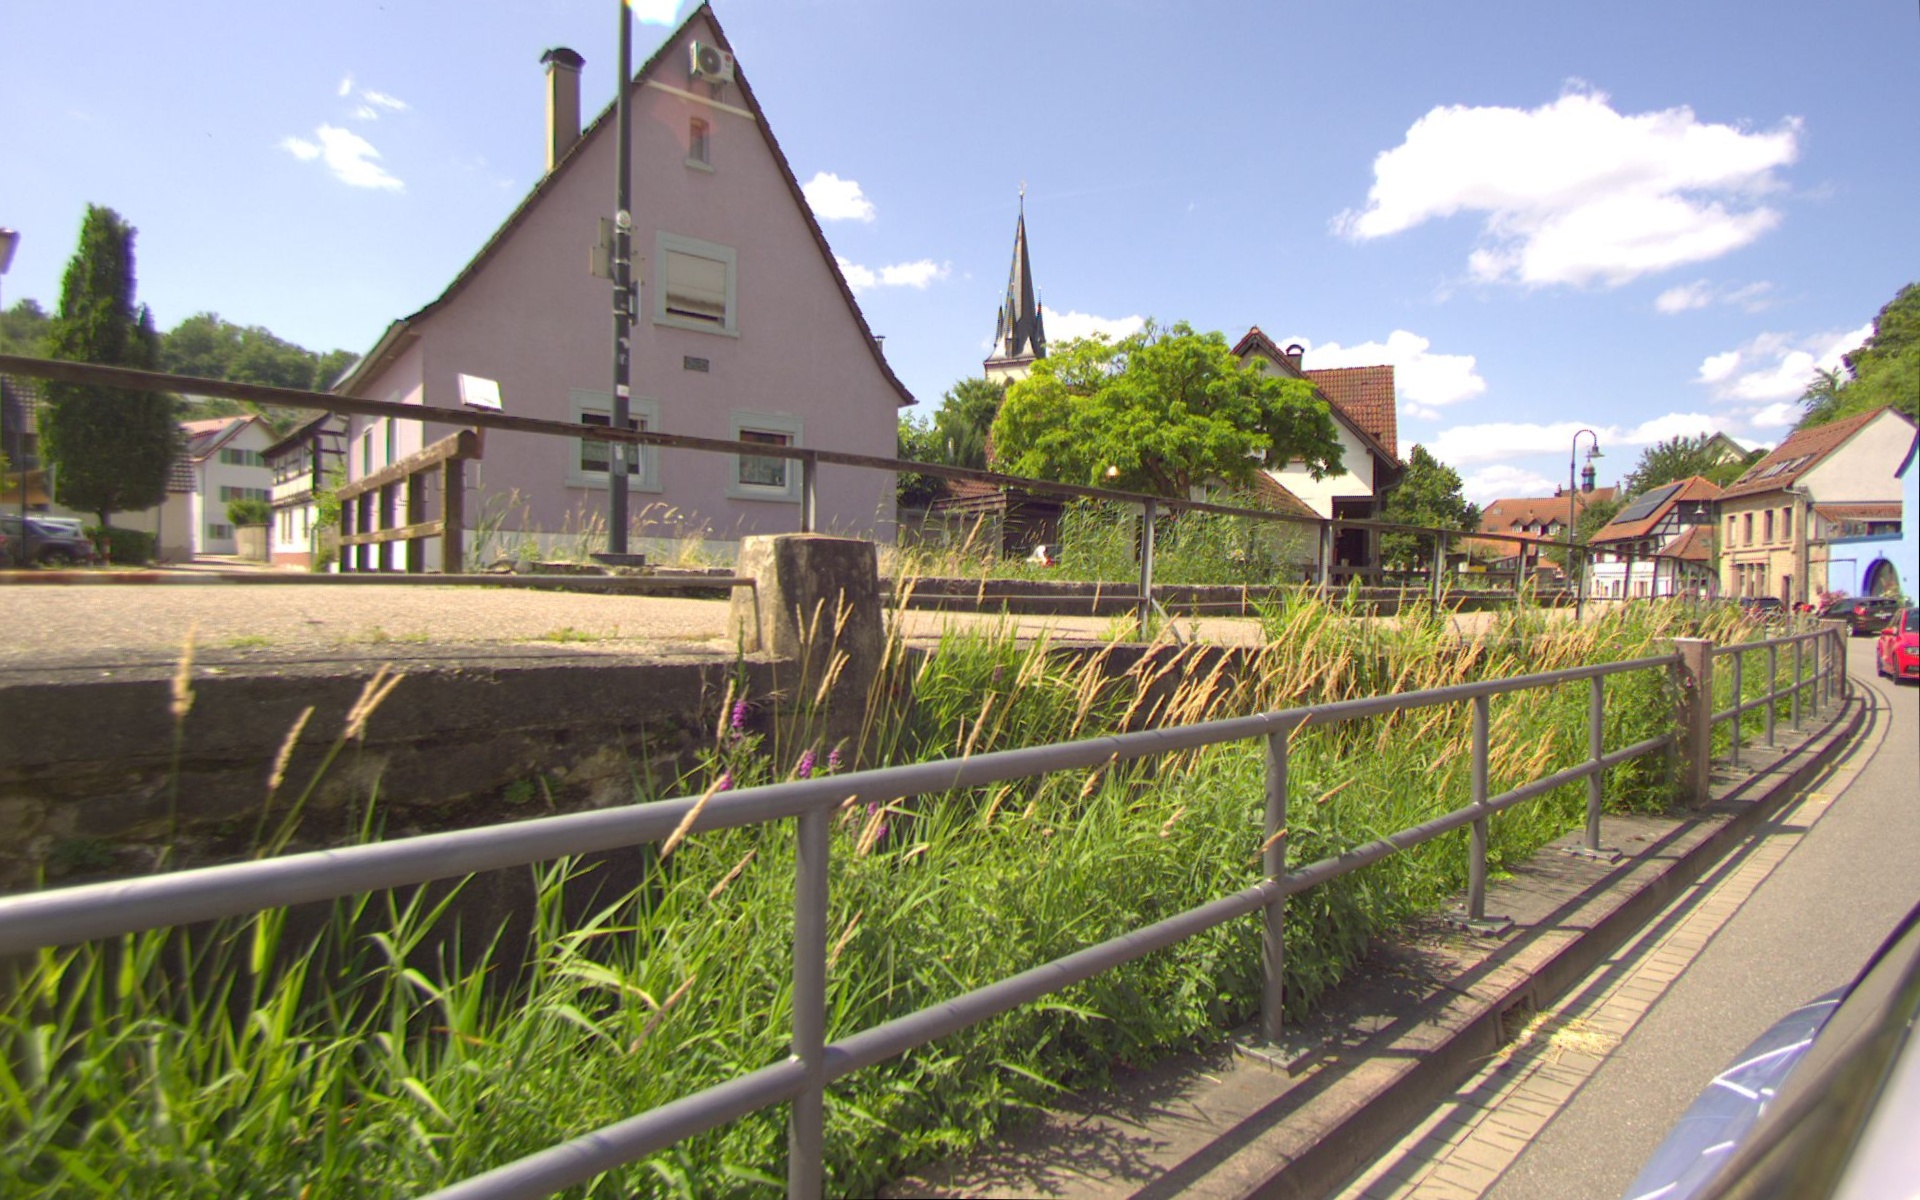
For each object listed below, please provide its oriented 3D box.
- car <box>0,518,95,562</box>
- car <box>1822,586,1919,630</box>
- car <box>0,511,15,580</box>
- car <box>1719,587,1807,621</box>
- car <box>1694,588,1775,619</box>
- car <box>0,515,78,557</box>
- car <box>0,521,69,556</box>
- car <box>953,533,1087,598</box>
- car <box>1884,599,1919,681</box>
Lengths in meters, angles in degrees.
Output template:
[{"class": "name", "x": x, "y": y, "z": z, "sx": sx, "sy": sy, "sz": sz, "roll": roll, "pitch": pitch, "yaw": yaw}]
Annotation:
[{"class": "car", "x": -29.207, "y": -1.902, "z": 32.037, "sx": 2.690, "sy": 1.315, "sz": 1.251, "roll": 0, "pitch": 3, "yaw": -38}, {"class": "car", "x": 34.698, "y": 0.274, "z": 38.532, "sx": 1.703, "sy": 1.549, "sz": 3.827, "roll": -2, "pitch": 0, "yaw": 23}, {"class": "car", "x": -21.872, "y": -1.156, "z": 21.040, "sx": 1.665, "sy": 1.451, "sz": 3.192, "roll": 0, "pitch": 0, "yaw": 44}, {"class": "car", "x": 38.113, "y": 0.190, "z": 48.174, "sx": 1.868, "sy": 1.483, "sz": 4.635, "roll": -3, "pitch": -1, "yaw": 21}, {"class": "car", "x": 40.092, "y": 0.152, "z": 52.519, "sx": 1.937, "sy": 1.484, "sz": 4.519, "roll": 0, "pitch": 2, "yaw": 19}, {"class": "car", "x": -34.854, "y": -2.405, "z": 37.923, "sx": 2.693, "sy": 1.456, "sz": 1.250, "roll": 0, "pitch": 3, "yaw": -42}, {"class": "car", "x": -32.543, "y": -2.127, "z": 34.909, "sx": 2.693, "sy": 1.139, "sz": 1.250, "roll": 0, "pitch": 3, "yaw": -42}, {"class": "car", "x": 1.480, "y": -0.857, "z": 26.004, "sx": 1.723, "sy": 1.545, "sz": 3.518, "roll": 0, "pitch": 1, "yaw": -32}, {"class": "car", "x": 18.148, "y": 0.691, "z": 18.377, "sx": 1.661, "sy": 1.369, "sz": 3.448, "roll": 0, "pitch": 0, "yaw": 37}]
